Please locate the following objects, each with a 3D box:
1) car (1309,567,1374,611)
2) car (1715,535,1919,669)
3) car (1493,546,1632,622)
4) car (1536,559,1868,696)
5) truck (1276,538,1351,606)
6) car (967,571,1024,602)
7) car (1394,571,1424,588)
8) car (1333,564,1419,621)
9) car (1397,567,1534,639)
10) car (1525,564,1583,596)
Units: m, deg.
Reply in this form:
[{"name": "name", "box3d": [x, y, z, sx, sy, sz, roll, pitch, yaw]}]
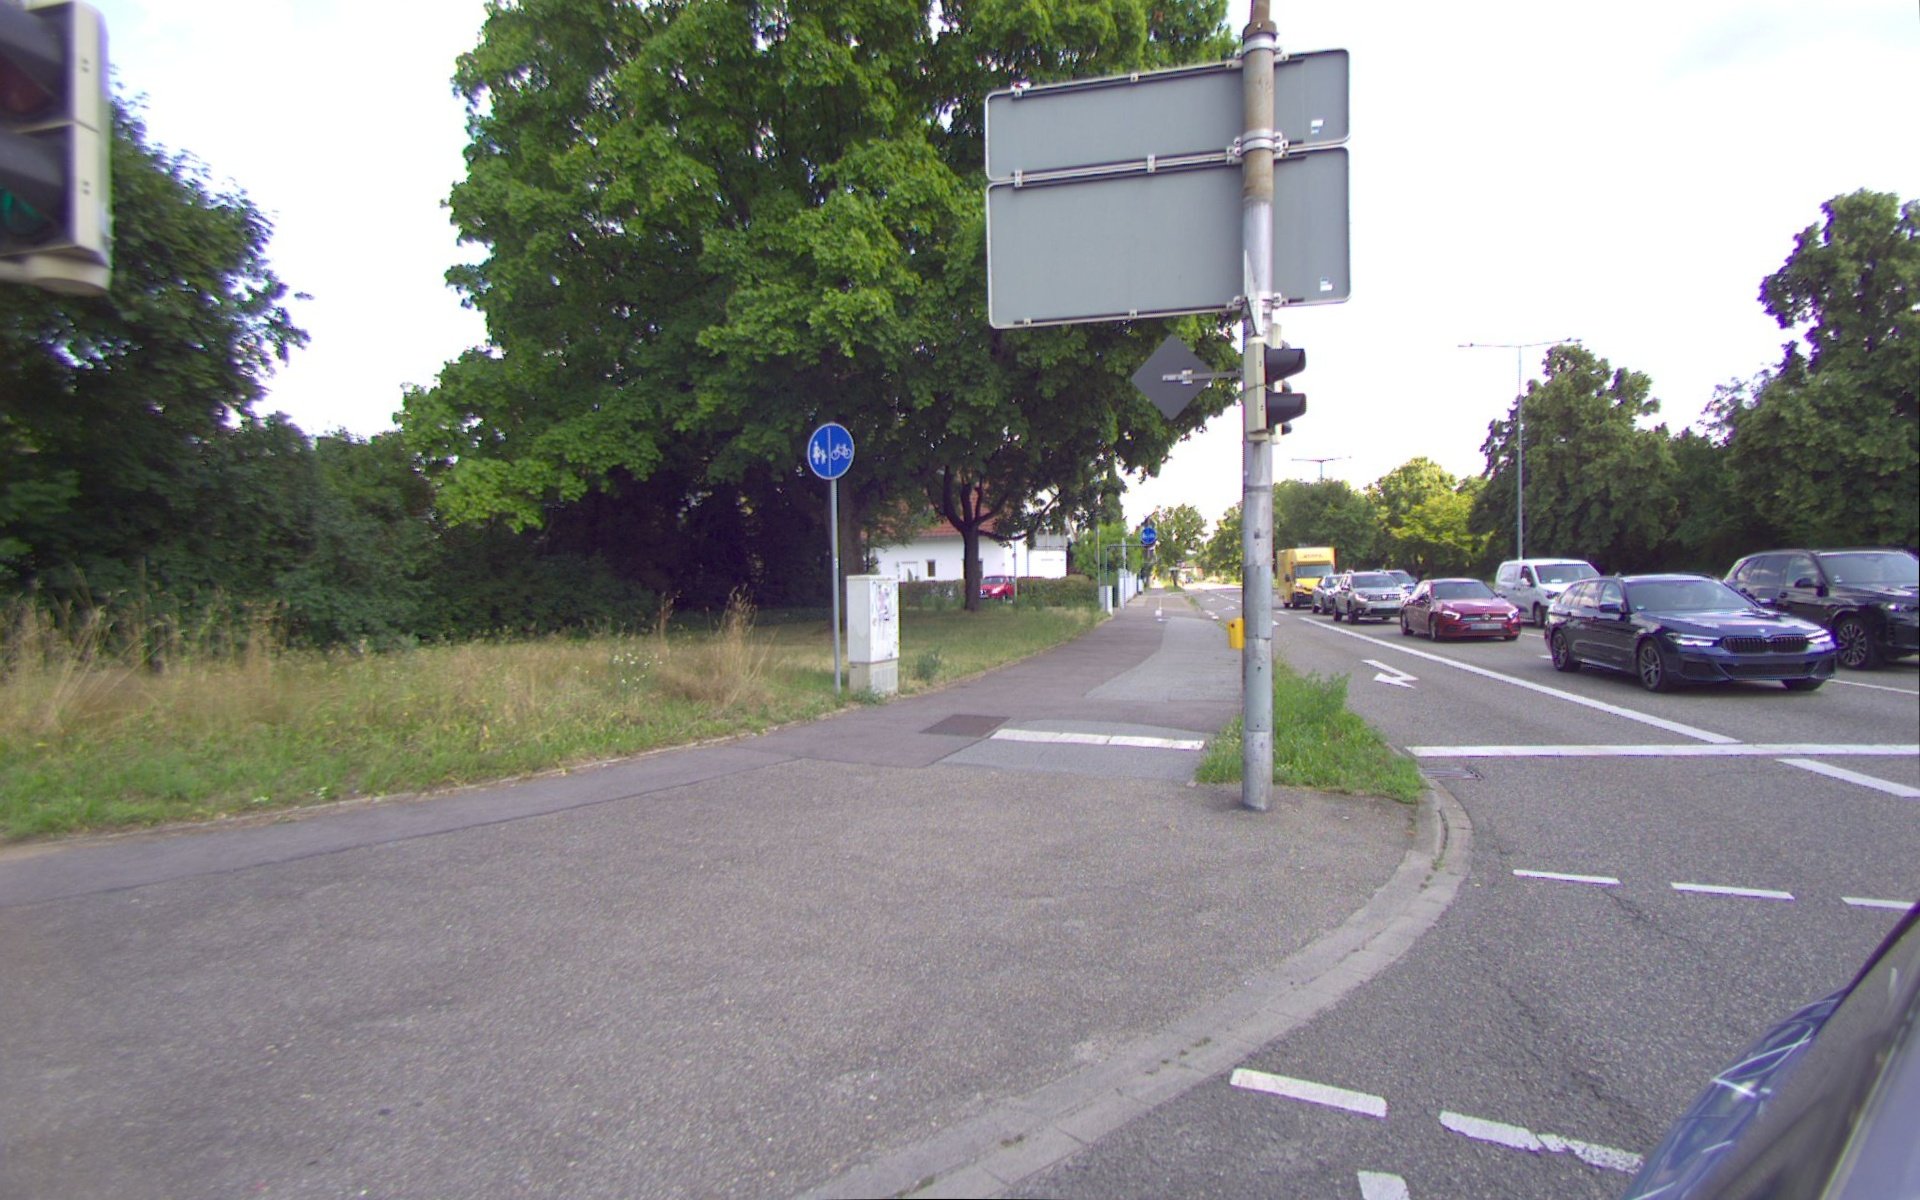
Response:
[{"name": "car", "box3d": [15.000, -0.481, 39.938, 1.701, 1.549, 3.882, -3, 1, 11]}, {"name": "car", "box3d": [13.840, -0.072, 15.519, 1.790, 1.767, 4.536, -2, 1, 11]}, {"name": "car", "box3d": [16.292, -0.472, 27.650, 1.743, 1.820, 4.716, -2, 1, 11]}, {"name": "car", "box3d": [9.932, 0.249, 14.119, 1.774, 1.515, 4.858, -3, 1, 11]}, {"name": "truck", "box3d": [16.794, -1.327, 48.509, 2.328, 2.895, 6.944, -3, 1, 11]}, {"name": "car", "box3d": [1.945, -0.731, 53.608, 1.662, 1.549, 4.362, 0, 1, 22]}, {"name": "car", "box3d": [41.330, -1.930, 93.274, 1.507, 1.476, 4.196, -1, 2, 10]}, {"name": "car", "box3d": [13.120, -0.276, 32.147, 1.701, 1.631, 4.163, -2, 1, 11]}, {"name": "car", "box3d": [11.889, 0.014, 24.119, 1.701, 1.480, 4.521, -3, 1, 11]}, {"name": "car", "box3d": [35.531, -1.232, 60.676, 1.650, 1.816, 4.241, -1, 2, 11]}]
